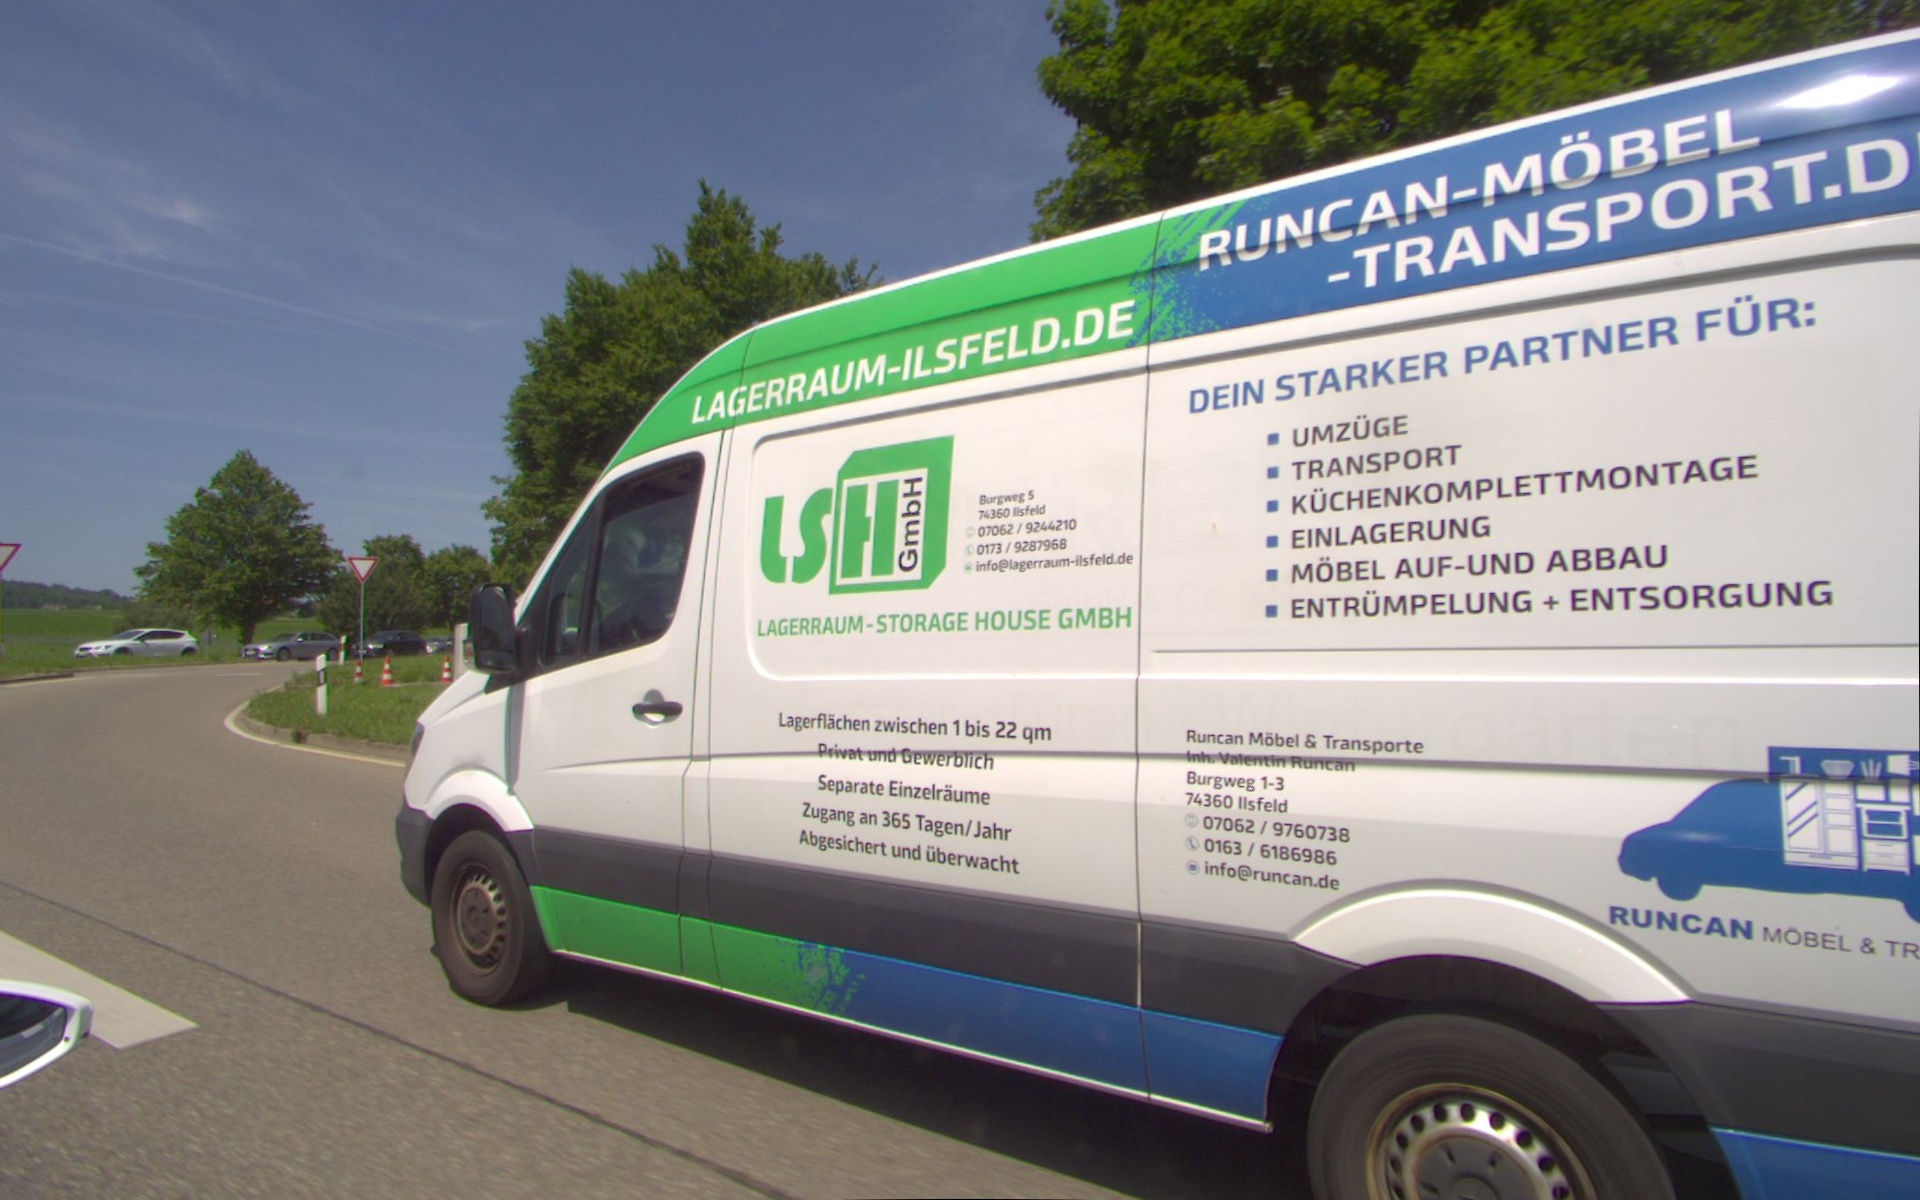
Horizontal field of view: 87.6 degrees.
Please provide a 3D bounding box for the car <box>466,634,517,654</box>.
[{"bbox_3d":[-31.070,2.912,66.581,1.766,1.289,4.563,0,-3,-8],"label":"car"}]

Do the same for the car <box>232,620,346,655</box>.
[{"bbox_3d":[-31.488,1.803,47.182,1.767,1.528,4.563,-1,-3,11],"label":"car"}]

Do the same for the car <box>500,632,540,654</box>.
[{"bbox_3d":[-31.833,3.105,72.546,1.767,1.529,4.232,0,-2,-10],"label":"car"}]

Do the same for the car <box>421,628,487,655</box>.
[{"bbox_3d":[-30.196,2.488,59.904,1.766,1.529,4.565,0,-2,-3],"label":"car"}]

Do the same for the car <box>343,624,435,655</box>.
[{"bbox_3d":[-30.230,2.124,53.191,1.766,1.528,4.565,-1,-4,9],"label":"car"}]

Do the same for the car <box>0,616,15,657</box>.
[{"bbox_3d":[-35.211,1.256,34.147,1.796,1.437,3.965,-1,-2,20],"label":"car"}]

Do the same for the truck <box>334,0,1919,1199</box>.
[{"bbox_3d":[0.194,0.152,3.735,5.860,2.772,2.062,-1,-1,33],"label":"truck"}]

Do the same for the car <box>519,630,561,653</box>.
[{"bbox_3d":[-32.596,3.240,77.860,1.962,1.719,4.292,0,-2,-7],"label":"car"}]

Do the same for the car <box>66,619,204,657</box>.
[{"bbox_3d":[-33.412,1.518,40.690,1.767,1.437,4.103,-1,-2,14],"label":"car"}]
